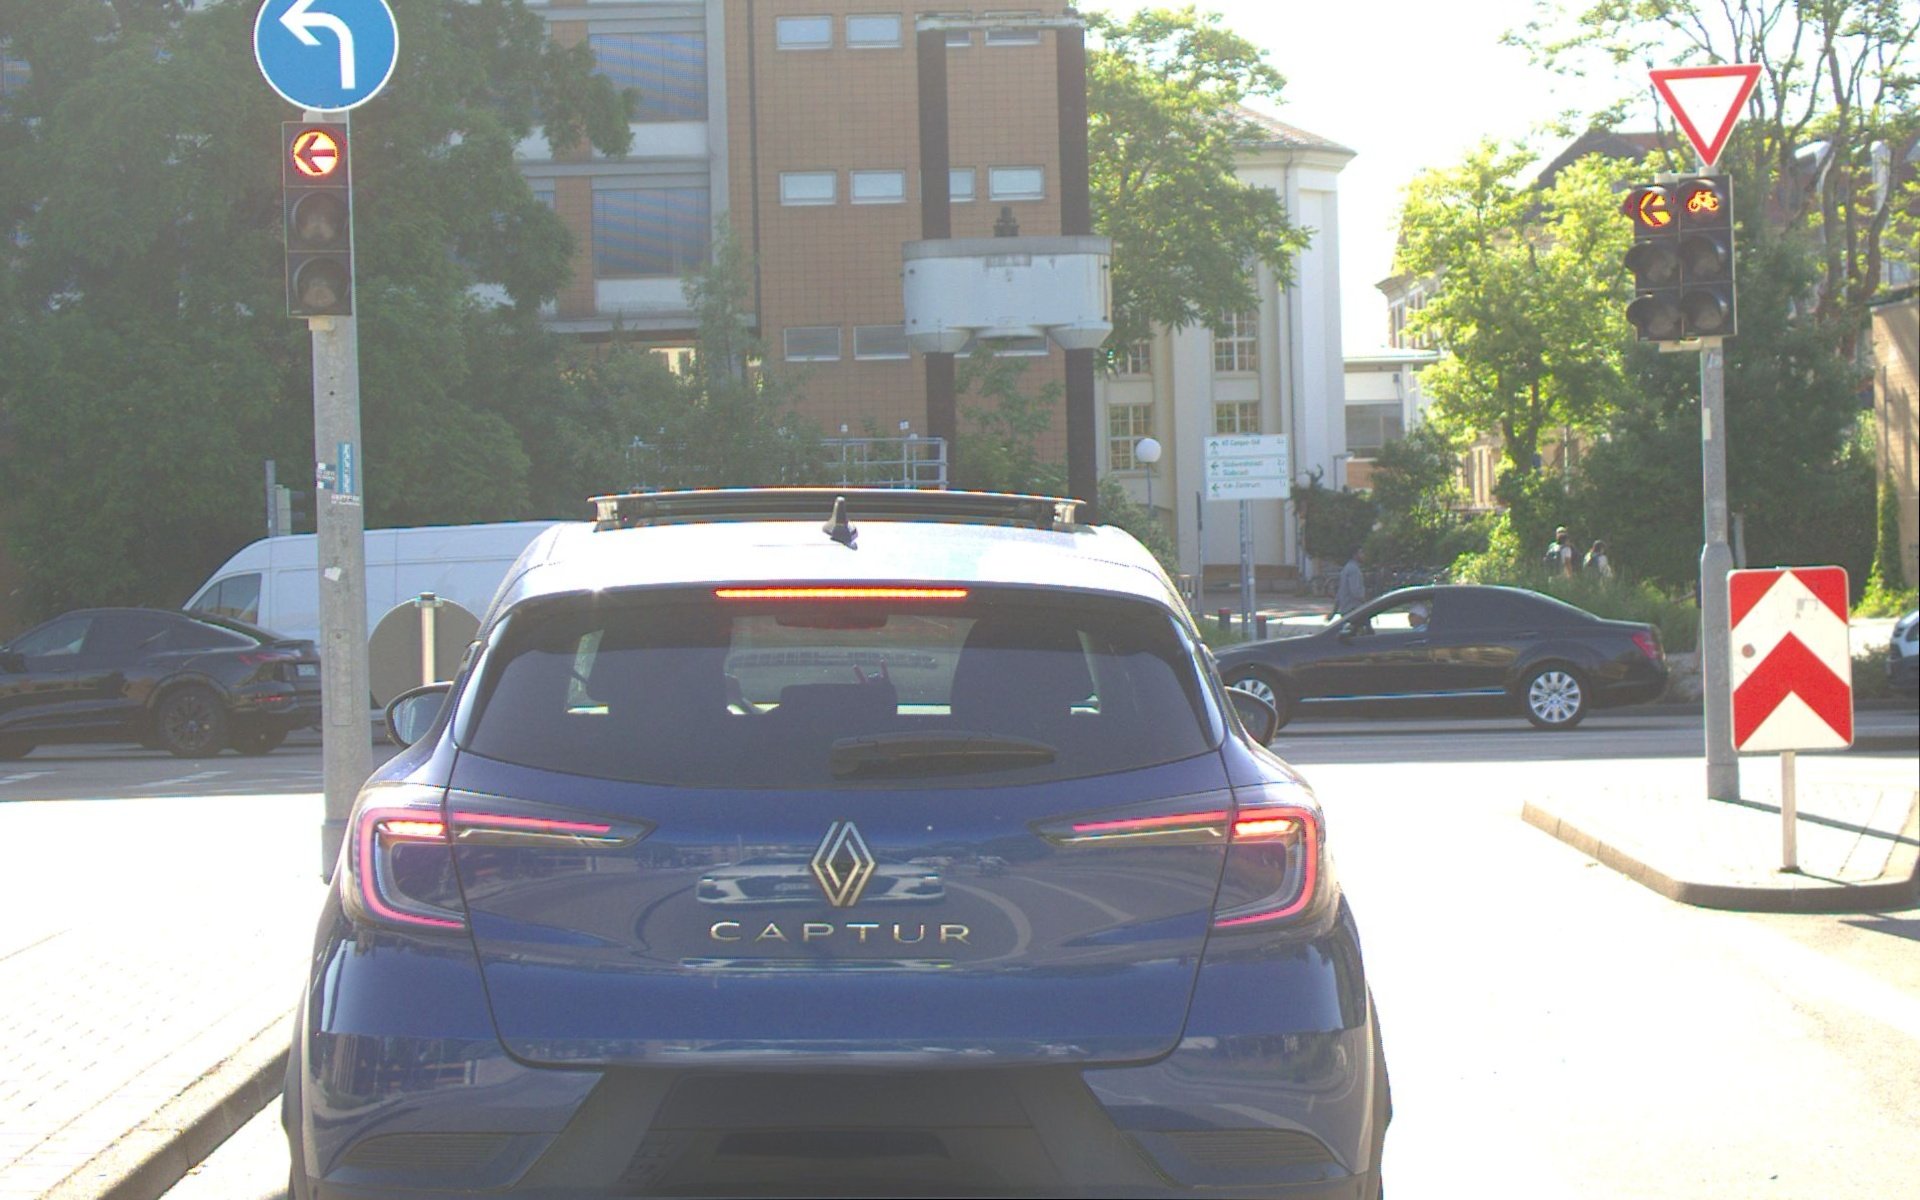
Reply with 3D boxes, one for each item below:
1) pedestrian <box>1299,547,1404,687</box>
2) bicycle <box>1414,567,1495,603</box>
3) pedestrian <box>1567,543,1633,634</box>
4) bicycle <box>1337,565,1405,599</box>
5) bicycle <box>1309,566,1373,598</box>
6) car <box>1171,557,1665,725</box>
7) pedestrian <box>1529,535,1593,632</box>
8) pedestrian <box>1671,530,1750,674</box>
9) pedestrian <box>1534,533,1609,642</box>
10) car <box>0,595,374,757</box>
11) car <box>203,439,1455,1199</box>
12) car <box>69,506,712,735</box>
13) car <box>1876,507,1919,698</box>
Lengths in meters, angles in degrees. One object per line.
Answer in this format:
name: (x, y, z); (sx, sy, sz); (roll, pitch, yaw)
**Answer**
pedestrian: (5.307, 0.225, 46.578); (1.298, 1.849, 0.965); (-1, 1, 11)
bicycle: (12.024, -0.366, 83.592); (1.770, 0.820, 0.766); (-1, 1, -10)
pedestrian: (11.551, -0.209, 62.058); (0.936, 1.607, 1.176); (-1, 1, 0)
bicycle: (11.393, -0.495, 95.394); (1.771, 0.895, 0.765); (-1, 1, 0)
bicycle: (11.054, -0.531, 99.758); (1.771, 0.890, 0.765); (-1, 1, 0)
car: (4.697, 0.405, 35.268); (4.844, 1.576, 2.101); (-1, 1, 9)
pedestrian: (10.918, -0.304, 62.428); (0.953, 1.735, 0.984); (-1, 1, 0)
pedestrian: (9.827, 0.020, 45.023); (0.932, 1.849, 0.807); (-1, 1, 9)
pedestrian: (11.541, -0.247, 64.912); (1.156, 2.007, 1.164); (-1, 1, 0)
car: (-9.118, 0.817, 37.304); (5.032, 1.667, 1.999); (1, -2, 11)
car: (-0.240, 0.561, 6.878); (1.794, 1.649, 3.853); (0, 1, -2)
car: (-6.771, 0.237, 41.276); (6.939, 2.538, 3.011); (-1, 1, 13)
car: (12.522, -0.036, 36.912); (5.001, 2.007, 2.071); (-1, 1, 10)
